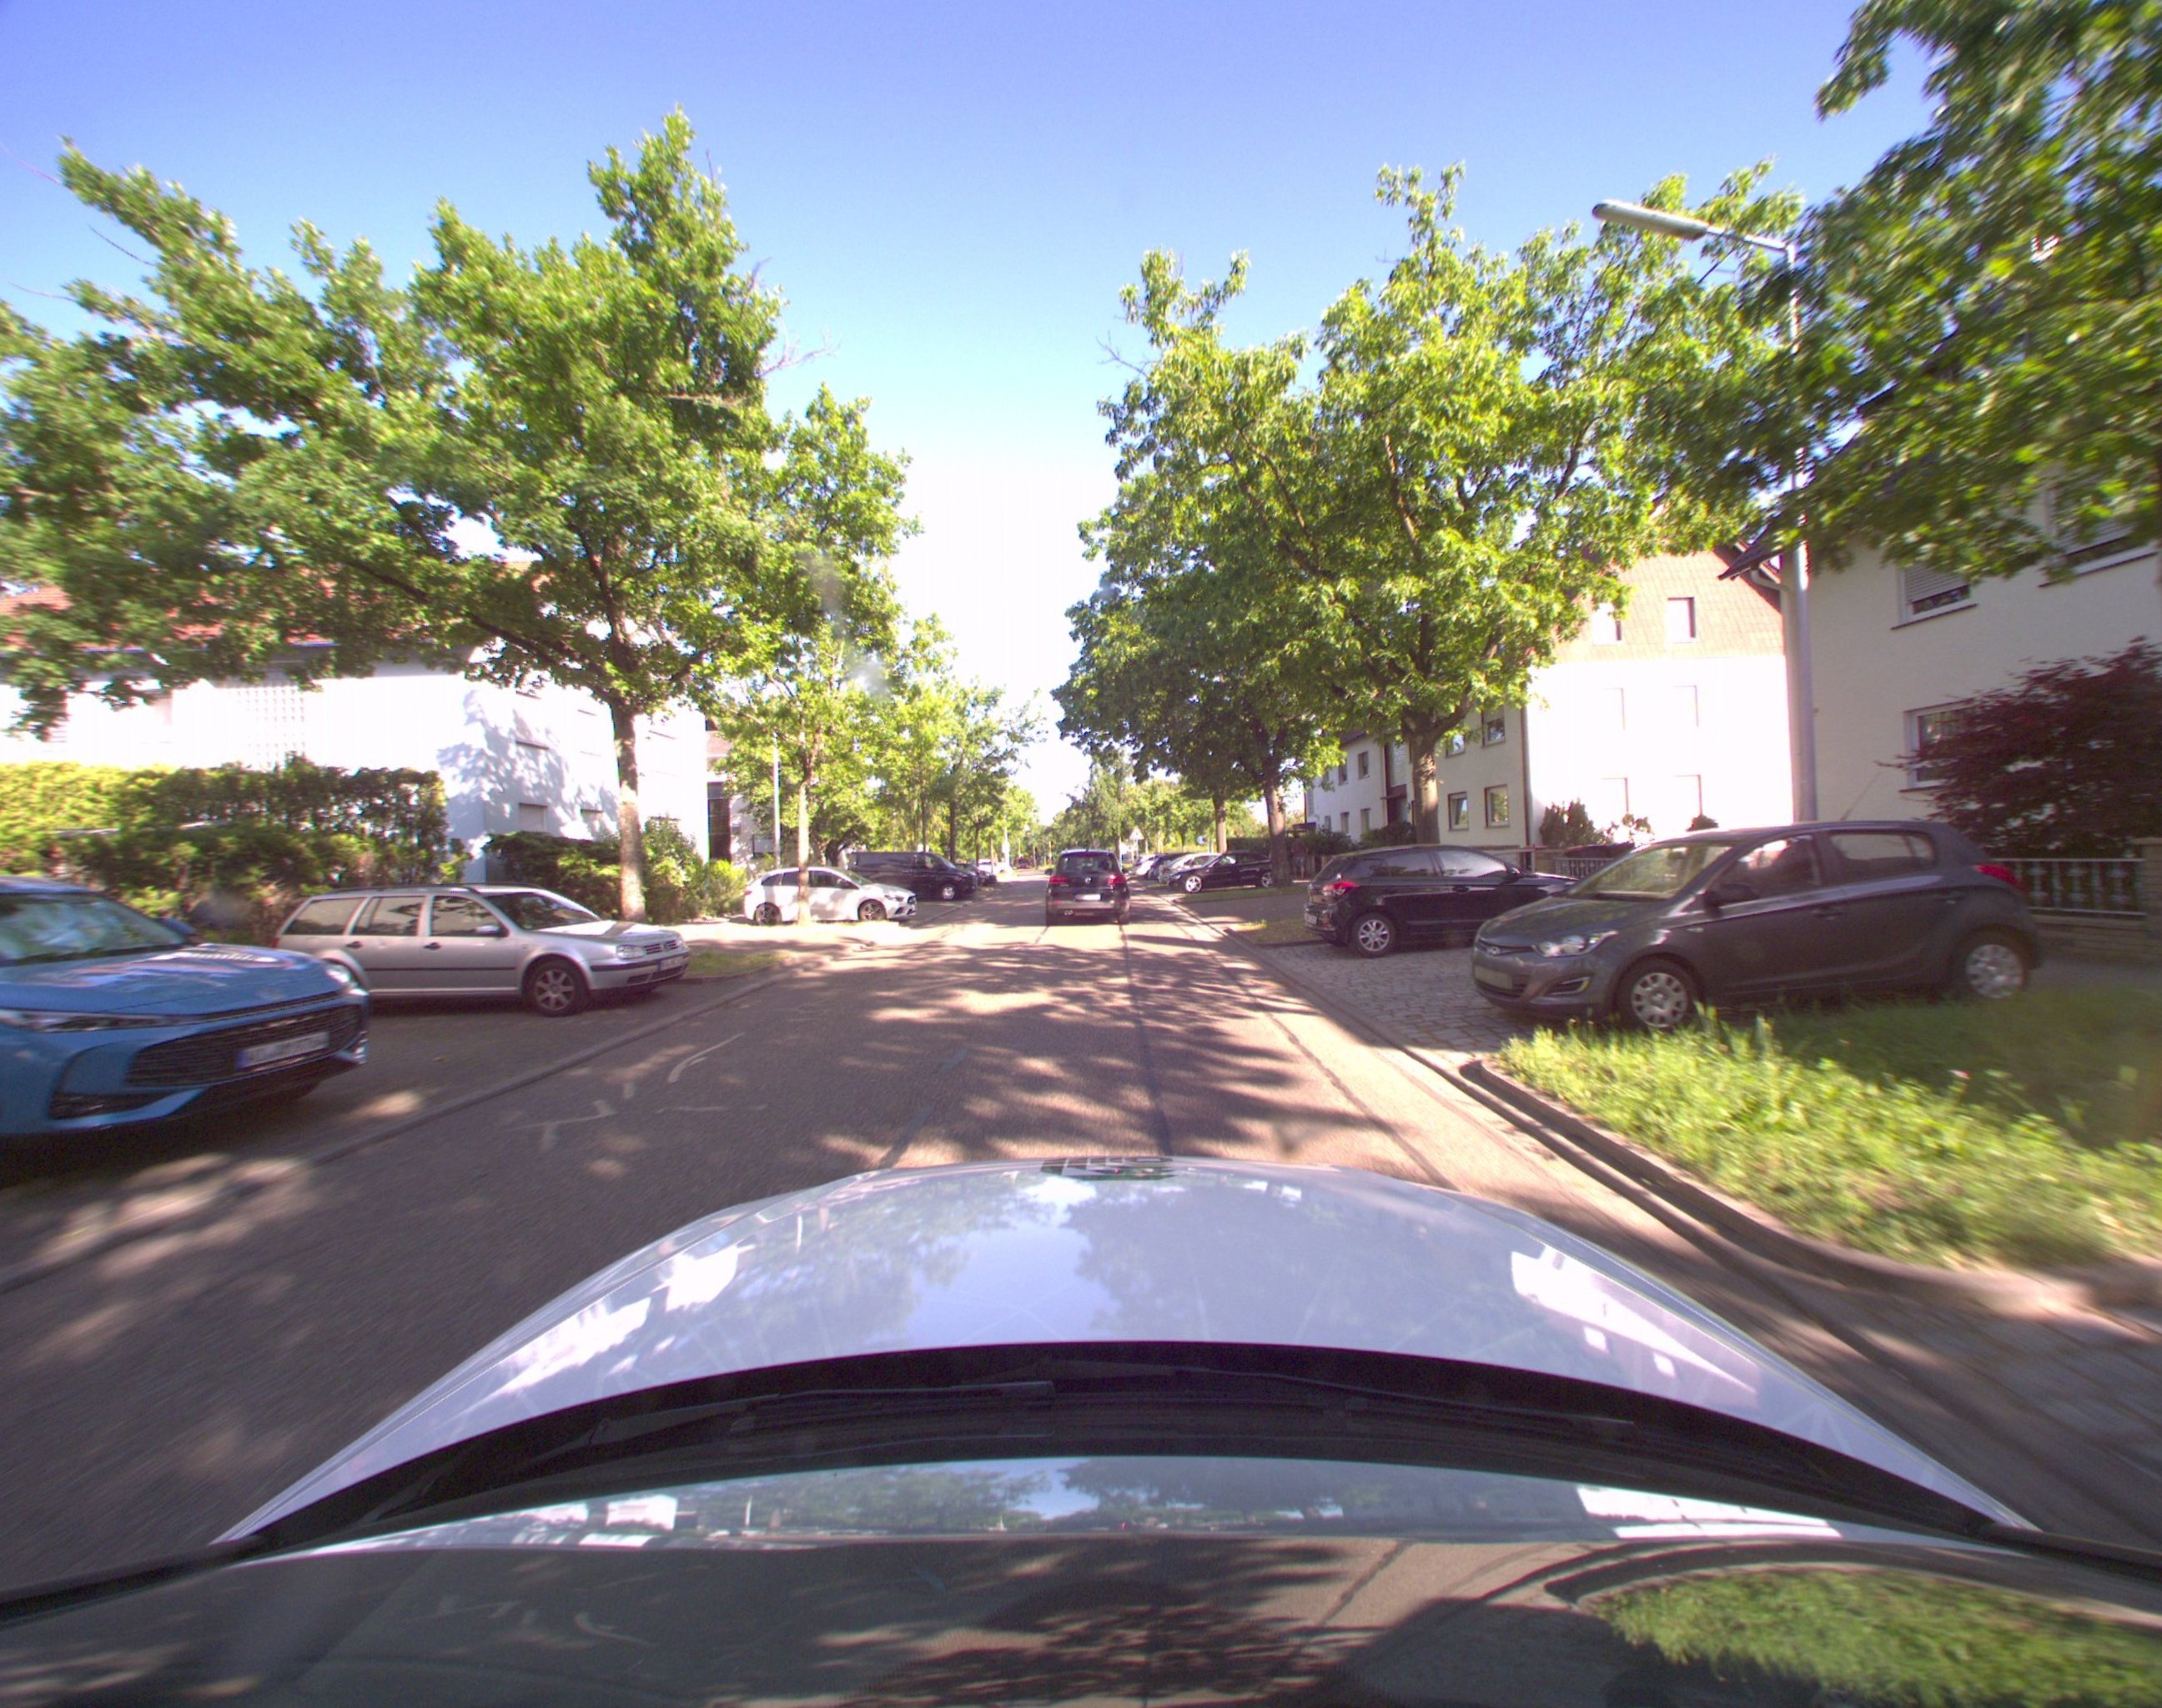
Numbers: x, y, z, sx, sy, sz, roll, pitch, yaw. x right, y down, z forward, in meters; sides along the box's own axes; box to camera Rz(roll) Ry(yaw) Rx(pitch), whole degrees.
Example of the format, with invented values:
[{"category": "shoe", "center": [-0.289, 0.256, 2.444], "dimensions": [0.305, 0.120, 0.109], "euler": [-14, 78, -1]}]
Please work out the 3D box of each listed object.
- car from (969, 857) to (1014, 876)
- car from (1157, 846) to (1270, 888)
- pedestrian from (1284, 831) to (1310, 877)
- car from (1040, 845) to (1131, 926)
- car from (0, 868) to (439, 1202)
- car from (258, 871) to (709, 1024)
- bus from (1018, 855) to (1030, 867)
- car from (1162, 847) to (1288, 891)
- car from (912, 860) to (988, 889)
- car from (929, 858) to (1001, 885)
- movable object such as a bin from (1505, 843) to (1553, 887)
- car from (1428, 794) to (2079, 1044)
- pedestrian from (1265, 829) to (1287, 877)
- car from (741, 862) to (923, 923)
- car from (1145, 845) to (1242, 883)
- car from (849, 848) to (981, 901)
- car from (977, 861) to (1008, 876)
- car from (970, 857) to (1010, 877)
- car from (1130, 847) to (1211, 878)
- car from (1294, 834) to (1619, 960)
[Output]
[{"category": "car", "center": [-8.868, 1.244, 80.799], "dimensions": [4.234, 1.623, 1.894], "euler": [-2, -1, -4]}, {"category": "car", "center": [5.330, 0.514, 33.079], "dimensions": [4.262, 1.414, 1.797], "euler": [-3, 0, 0]}, {"category": "pedestrian", "center": [8.841, -0.008, 33.316], "dimensions": [0.831, 1.828, 0.711], "euler": [-3, -1, 2]}, {"category": "car", "center": [0.205, 0.655, 18.895], "dimensions": [1.830, 1.636, 3.962], "euler": [-2, 0, 4]}, {"category": "car", "center": [-6.987, 0.952, 5.030], "dimensions": [4.507, 1.631, 1.938], "euler": [-1, -1, 1]}, {"category": "car", "center": [-6.956, 1.047, 9.775], "dimensions": [4.167, 1.492, 1.647], "euler": [-3, -1, 1]}, {"category": "bus", "center": [-14.739, 1.846, 210.155], "dimensions": [2.922, 3.004, 5.729], "euler": [-3, -1, -3]}, {"category": "car", "center": [5.288, 0.546, 30.283], "dimensions": [4.332, 1.363, 1.873], "euler": [-3, -1, 0]}, {"category": "car", "center": [-7.028, 1.083, 44.090], "dimensions": [3.808, 1.419, 1.771], "euler": [-1, 0, -1]}, {"category": "car", "center": [-6.668, 1.006, 47.160], "dimensions": [3.844, 1.459, 1.713], "euler": [-1, 0, 1]}, {"category": "movable object such as a bin", "center": [11.682, 0.282, 21.241], "dimensions": [0.701, 1.099, 0.906], "euler": [-3, -1, 0]}, {"category": "car", "center": [5.276, 0.475, 6.788], "dimensions": [3.976, 1.623, 1.756], "euler": [-3, -1, -2]}, {"category": "pedestrian", "center": [7.910, -0.027, 33.049], "dimensions": [0.605, 1.873, 0.924], "euler": [-3, -1, 2]}, {"category": "car", "center": [-6.548, 0.987, 21.718], "dimensions": [4.261, 1.478, 1.769], "euler": [-1, 0, 1]}, {"category": "car", "center": [5.205, 0.474, 38.044], "dimensions": [4.262, 1.503, 1.797], "euler": [-3, 0, 0]}, {"category": "car", "center": [-6.458, 0.765, 32.167], "dimensions": [4.765, 1.917, 2.018], "euler": [-1, 0, -1]}, {"category": "car", "center": [-11.996, 1.974, 110.699], "dimensions": [4.008, 1.647, 1.809], "euler": [-4, 1, -4]}, {"category": "car", "center": [-9.614, 1.393, 86.275], "dimensions": [4.008, 1.839, 1.894], "euler": [-3, 1, -4]}, {"category": "car", "center": [5.093, 0.479, 46.808], "dimensions": [4.413, 1.491, 1.797], "euler": [-3, 0, 0]}, {"category": "car", "center": [5.222, 0.585, 11.704], "dimensions": [3.868, 1.516, 1.661], "euler": [-3, -1, 1]}]
